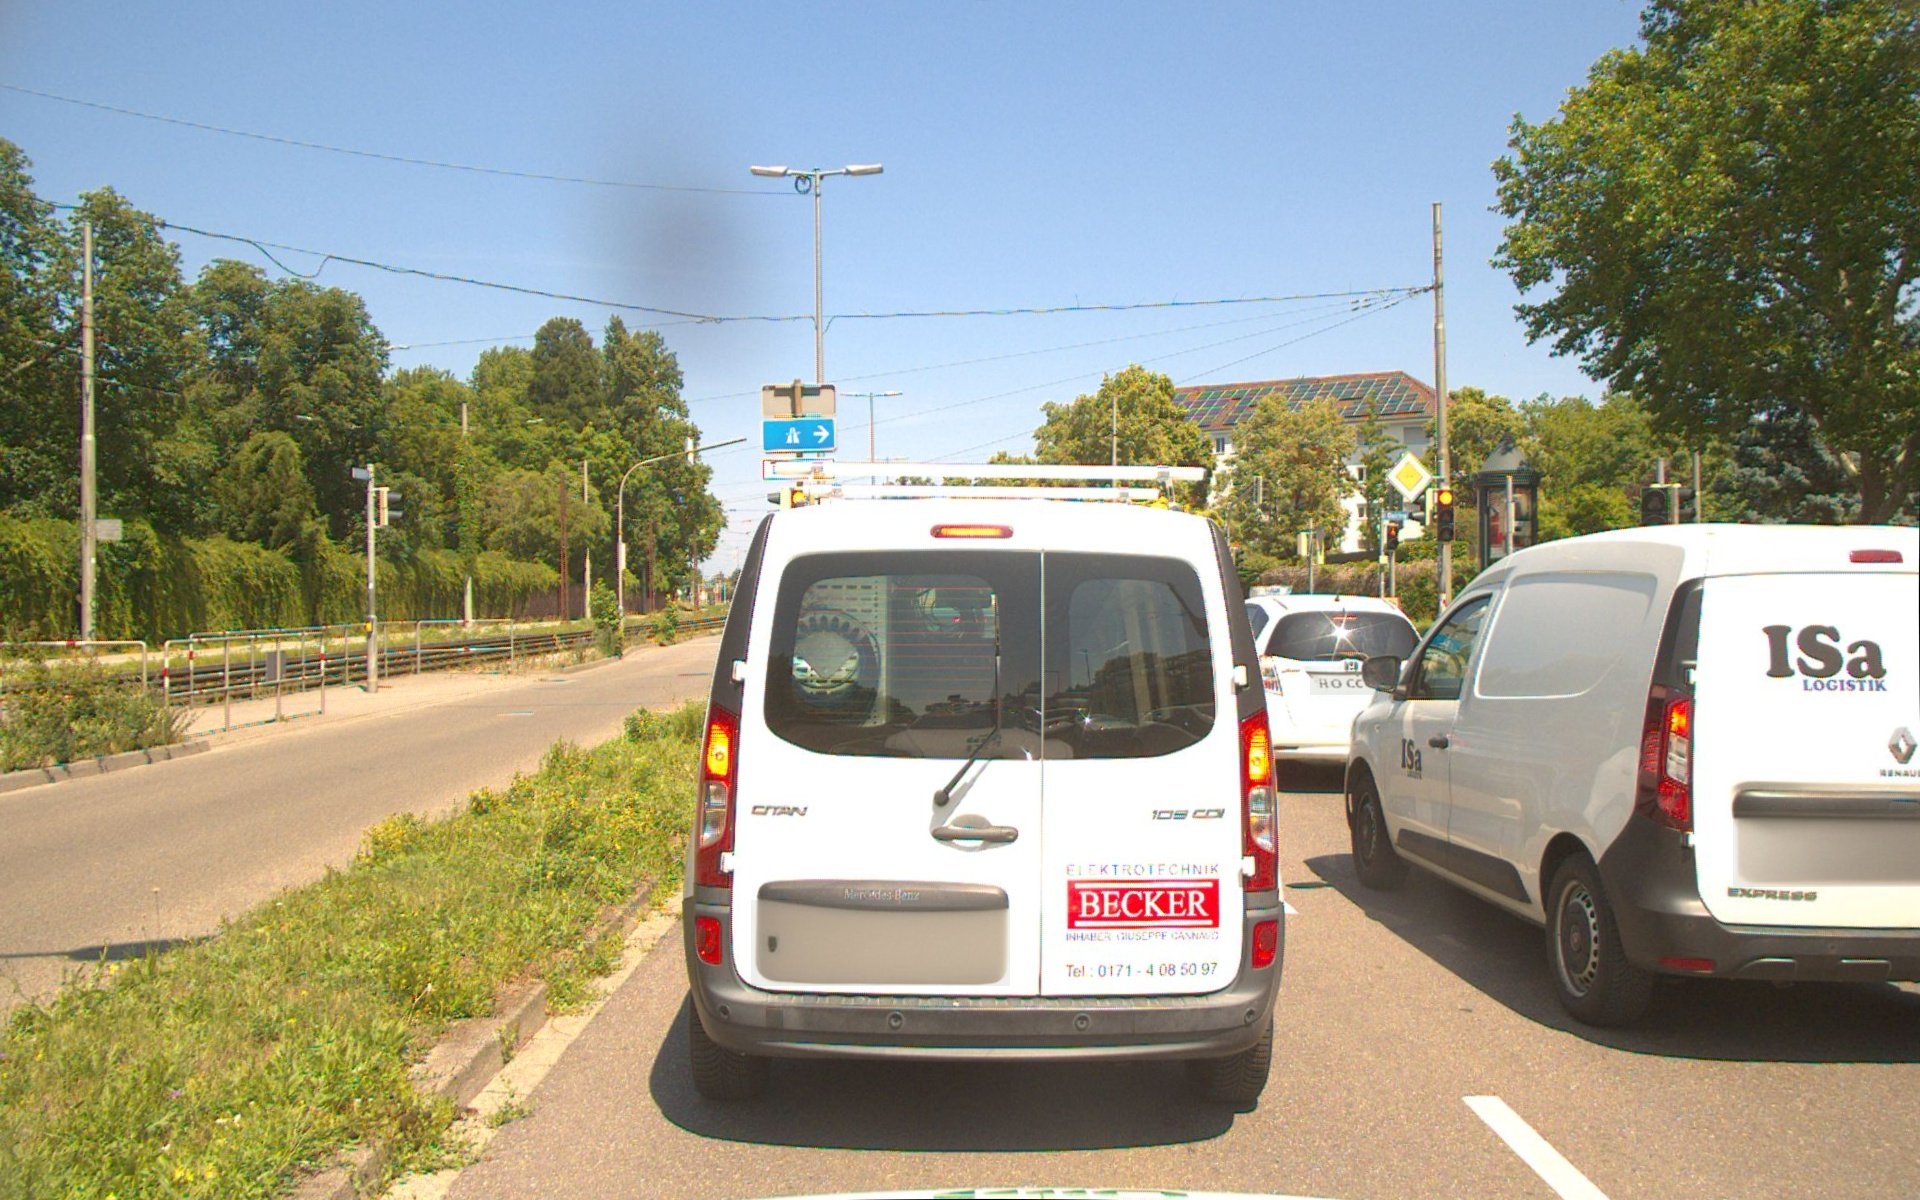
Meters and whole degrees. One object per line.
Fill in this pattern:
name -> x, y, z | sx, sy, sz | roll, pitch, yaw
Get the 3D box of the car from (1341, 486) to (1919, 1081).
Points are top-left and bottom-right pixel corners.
car -> 3.035, 0.574, 7.227 | 1.676, 1.862, 4.012 | 0, 0, -2

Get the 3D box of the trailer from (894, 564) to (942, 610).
trailer -> -3.917, -1.189, 151.506 | 3.461, 4.121, 8.961 | 0, 0, -8

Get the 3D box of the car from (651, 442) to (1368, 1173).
car -> 0.085, 0.537, 6.186 | 1.829, 1.868, 3.847 | 1, 0, -2

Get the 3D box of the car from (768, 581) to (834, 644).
car -> -5.484, 0.409, 56.690 | 1.957, 2.049, 3.991 | 0, 0, -9

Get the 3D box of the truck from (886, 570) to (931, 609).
truck -> -5.078, -1.018, 160.297 | 3.508, 3.696, 8.794 | 0, 0, -7

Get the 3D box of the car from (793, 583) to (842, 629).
car -> -6.574, 0.275, 76.153 | 1.957, 2.049, 3.991 | 0, 0, -9

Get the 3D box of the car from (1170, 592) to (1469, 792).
car -> 3.017, 0.701, 14.696 | 1.720, 1.512, 3.999 | 1, 0, -1

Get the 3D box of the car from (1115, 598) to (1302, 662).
car -> 5.560, 0.674, 37.113 | 3.800, 1.334, 1.693 | -1, 0, 31
